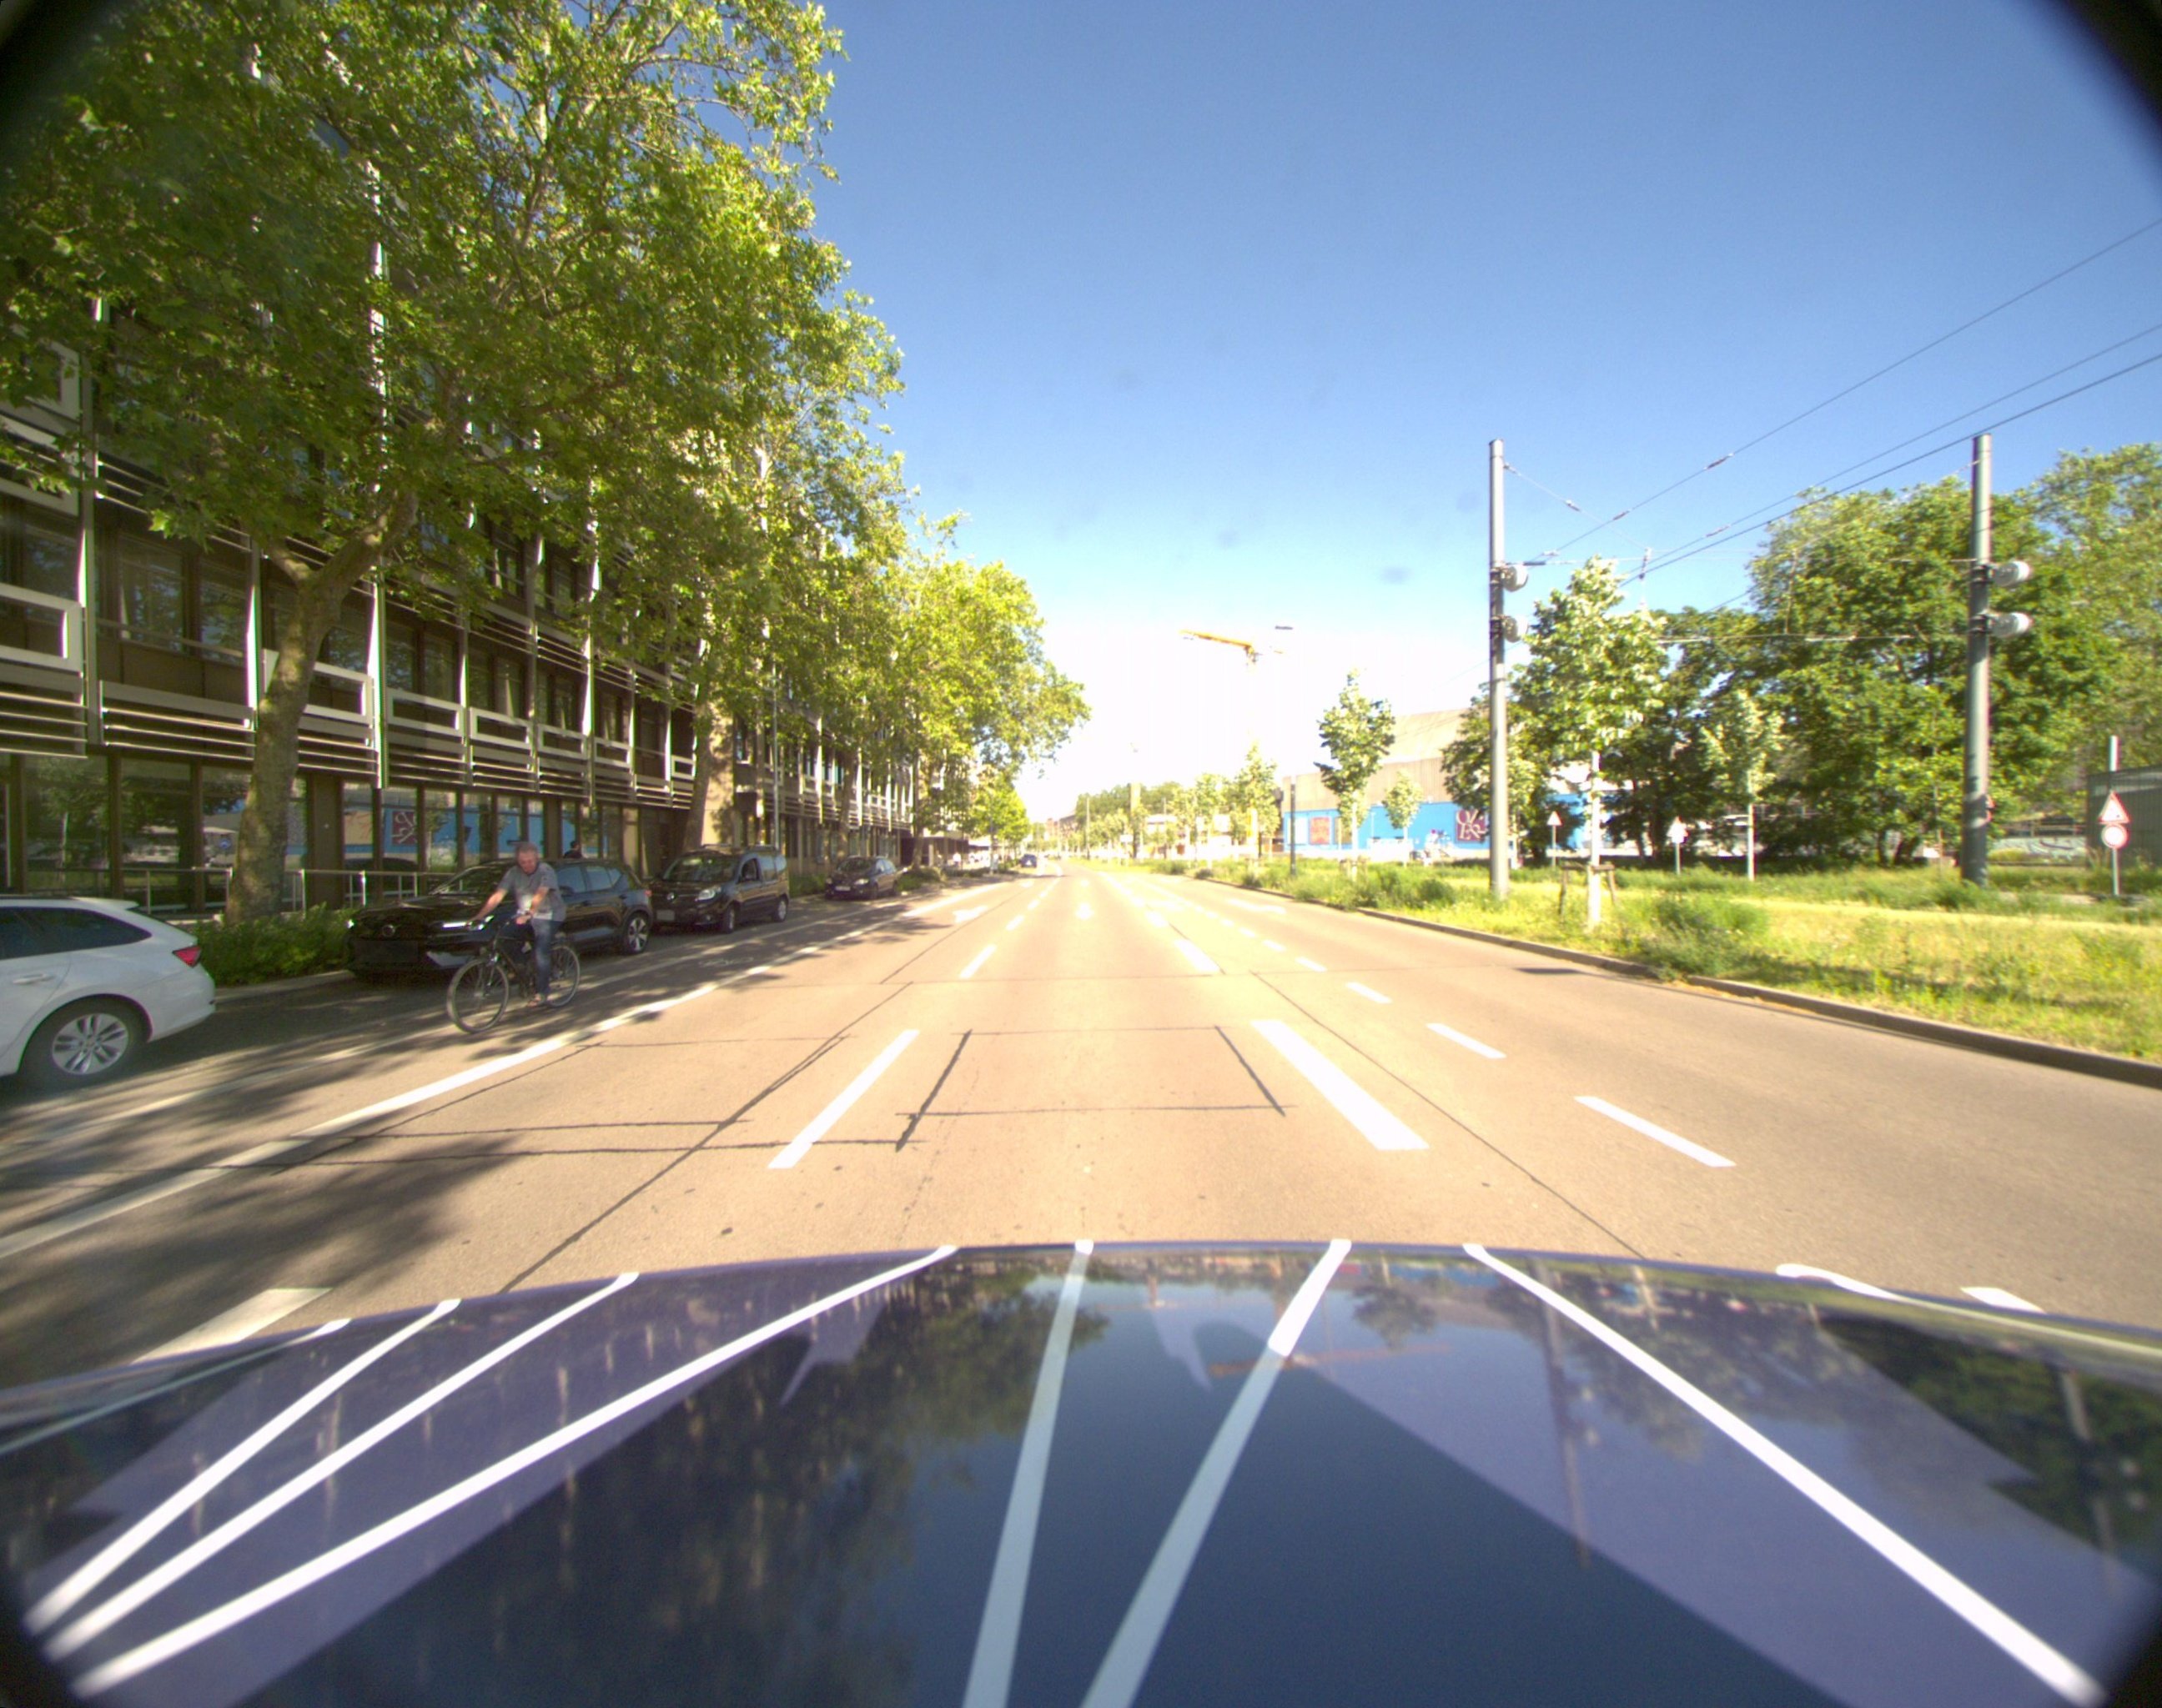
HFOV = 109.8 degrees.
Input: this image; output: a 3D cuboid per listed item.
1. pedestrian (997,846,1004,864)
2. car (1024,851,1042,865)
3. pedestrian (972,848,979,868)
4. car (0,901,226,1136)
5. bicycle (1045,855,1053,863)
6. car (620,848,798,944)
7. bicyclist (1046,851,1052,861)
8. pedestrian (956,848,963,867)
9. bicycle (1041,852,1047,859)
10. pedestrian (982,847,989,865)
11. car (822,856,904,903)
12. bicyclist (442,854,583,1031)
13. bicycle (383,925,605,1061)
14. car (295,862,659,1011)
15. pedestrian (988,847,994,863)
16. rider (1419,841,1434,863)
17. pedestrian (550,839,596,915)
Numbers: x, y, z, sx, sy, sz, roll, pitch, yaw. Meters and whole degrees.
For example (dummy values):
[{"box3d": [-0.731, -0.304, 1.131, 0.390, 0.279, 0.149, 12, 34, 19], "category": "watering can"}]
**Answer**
[{"box3d": [-8.492, 0.107, 80.313, 0.591, 1.830, 0.569, -1, 1, 0], "category": "pedestrian"}, {"box3d": [-5.690, 0.463, 91.097, 1.999, 1.598, 3.895, -1, 0, -1], "category": "car"}, {"box3d": [-10.018, 0.355, 72.059, 0.591, 1.830, 0.696, -1, 1, 0], "category": "pedestrian"}, {"box3d": [-8.208, 1.167, 4.225, 1.752, 1.481, 4.559, 1, 0, 0], "category": "car"}, {"box3d": [-4.262, 0.672, 101.263, 0.845, 1.123, 2.553, -1, 0, 1], "category": "bicycle"}, {"box3d": [-7.908, 0.793, 16.669, 1.752, 1.811, 4.337, 1, 0, 0], "category": "car"}, {"box3d": [-4.259, 0.261, 101.260, 0.830, 1.380, 0.903, -1, 1, 1], "category": "bicyclist"}, {"box3d": [-11.448, 0.330, 71.615, 0.591, 1.830, 0.697, -1, 1, 0], "category": "pedestrian"}, {"box3d": [-6.112, 0.306, 125.491, 0.845, 1.123, 2.552, -1, 0, -5], "category": "bicycle"}, {"box3d": [-9.736, 0.238, 77.657, 0.591, 1.830, 0.569, -1, 1, 0], "category": "pedestrian"}, {"box3d": [-7.952, 0.881, 28.078, 1.752, 1.545, 4.337, 1, 0, 0], "category": "car"}, {"box3d": [-5.784, 0.861, 7.784, 0.711, 1.678, 0.852, -3, 1, -1], "category": "bicyclist"}, {"box3d": [-5.770, 1.315, 7.650, 0.711, 0.987, 1.923, -3, 0, -1], "category": "bicycle"}, {"box3d": [-8.150, 0.972, 10.905, 1.752, 1.624, 4.337, 1, 0, 0], "category": "car"}, {"box3d": [-10.149, 0.113, 85.376, 0.591, 1.830, 0.569, -1, 1, 0], "category": "pedestrian"}, {"box3d": [23.626, -0.134, 51.947, 0.724, 1.513, 0.631, -1, 1, -2], "category": "rider"}, {"box3d": [-13.670, 0.608, 20.459, 0.741, 2.002, 0.626, -1, 1, 1], "category": "pedestrian"}]
